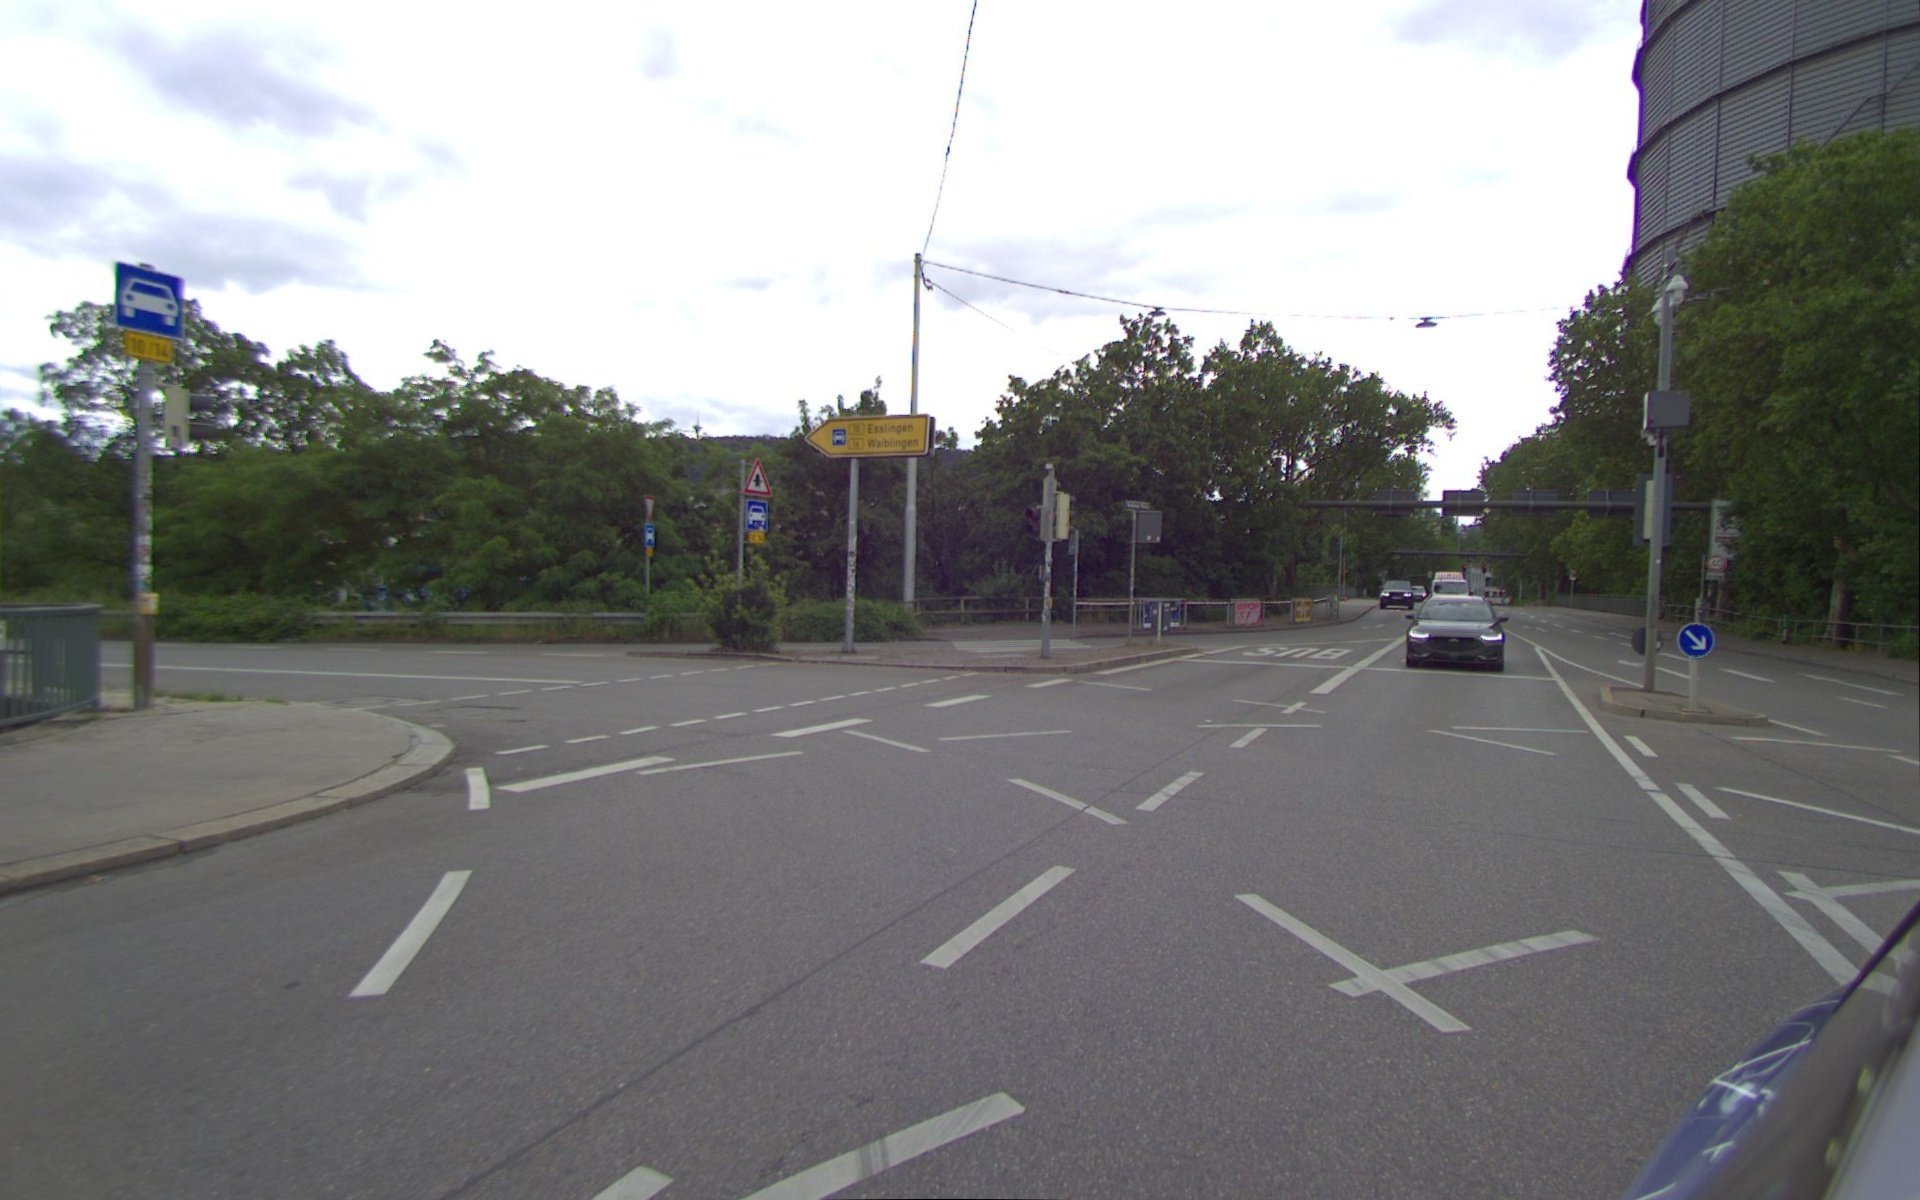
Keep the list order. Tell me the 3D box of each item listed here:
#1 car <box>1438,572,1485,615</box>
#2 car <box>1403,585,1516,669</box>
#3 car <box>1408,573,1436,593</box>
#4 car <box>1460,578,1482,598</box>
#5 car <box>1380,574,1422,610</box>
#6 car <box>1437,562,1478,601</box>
[{"bbox_3d":[25.743,-0.349,52.058,1.915,2.023,4.415,4,1,25],"label":"car"},{"bbox_3d":[10.574,0.467,21.339,1.917,1.437,4.410,2,3,28],"label":"car"},{"bbox_3d":[48.892,-1.856,107.129,2.312,1.939,5.349,4,4,28],"label":"car"},{"bbox_3d":[56.112,-1.347,111.128,1.982,2.038,3.962,-2,2,28],"label":"car"},{"bbox_3d":[28.372,-0.565,65.041,2.309,1.938,4.908,3,4,25],"label":"car"},{"bbox_3d":[35.290,-1.314,71.864,2.310,2.554,4.906,4,3,25],"label":"car"}]
